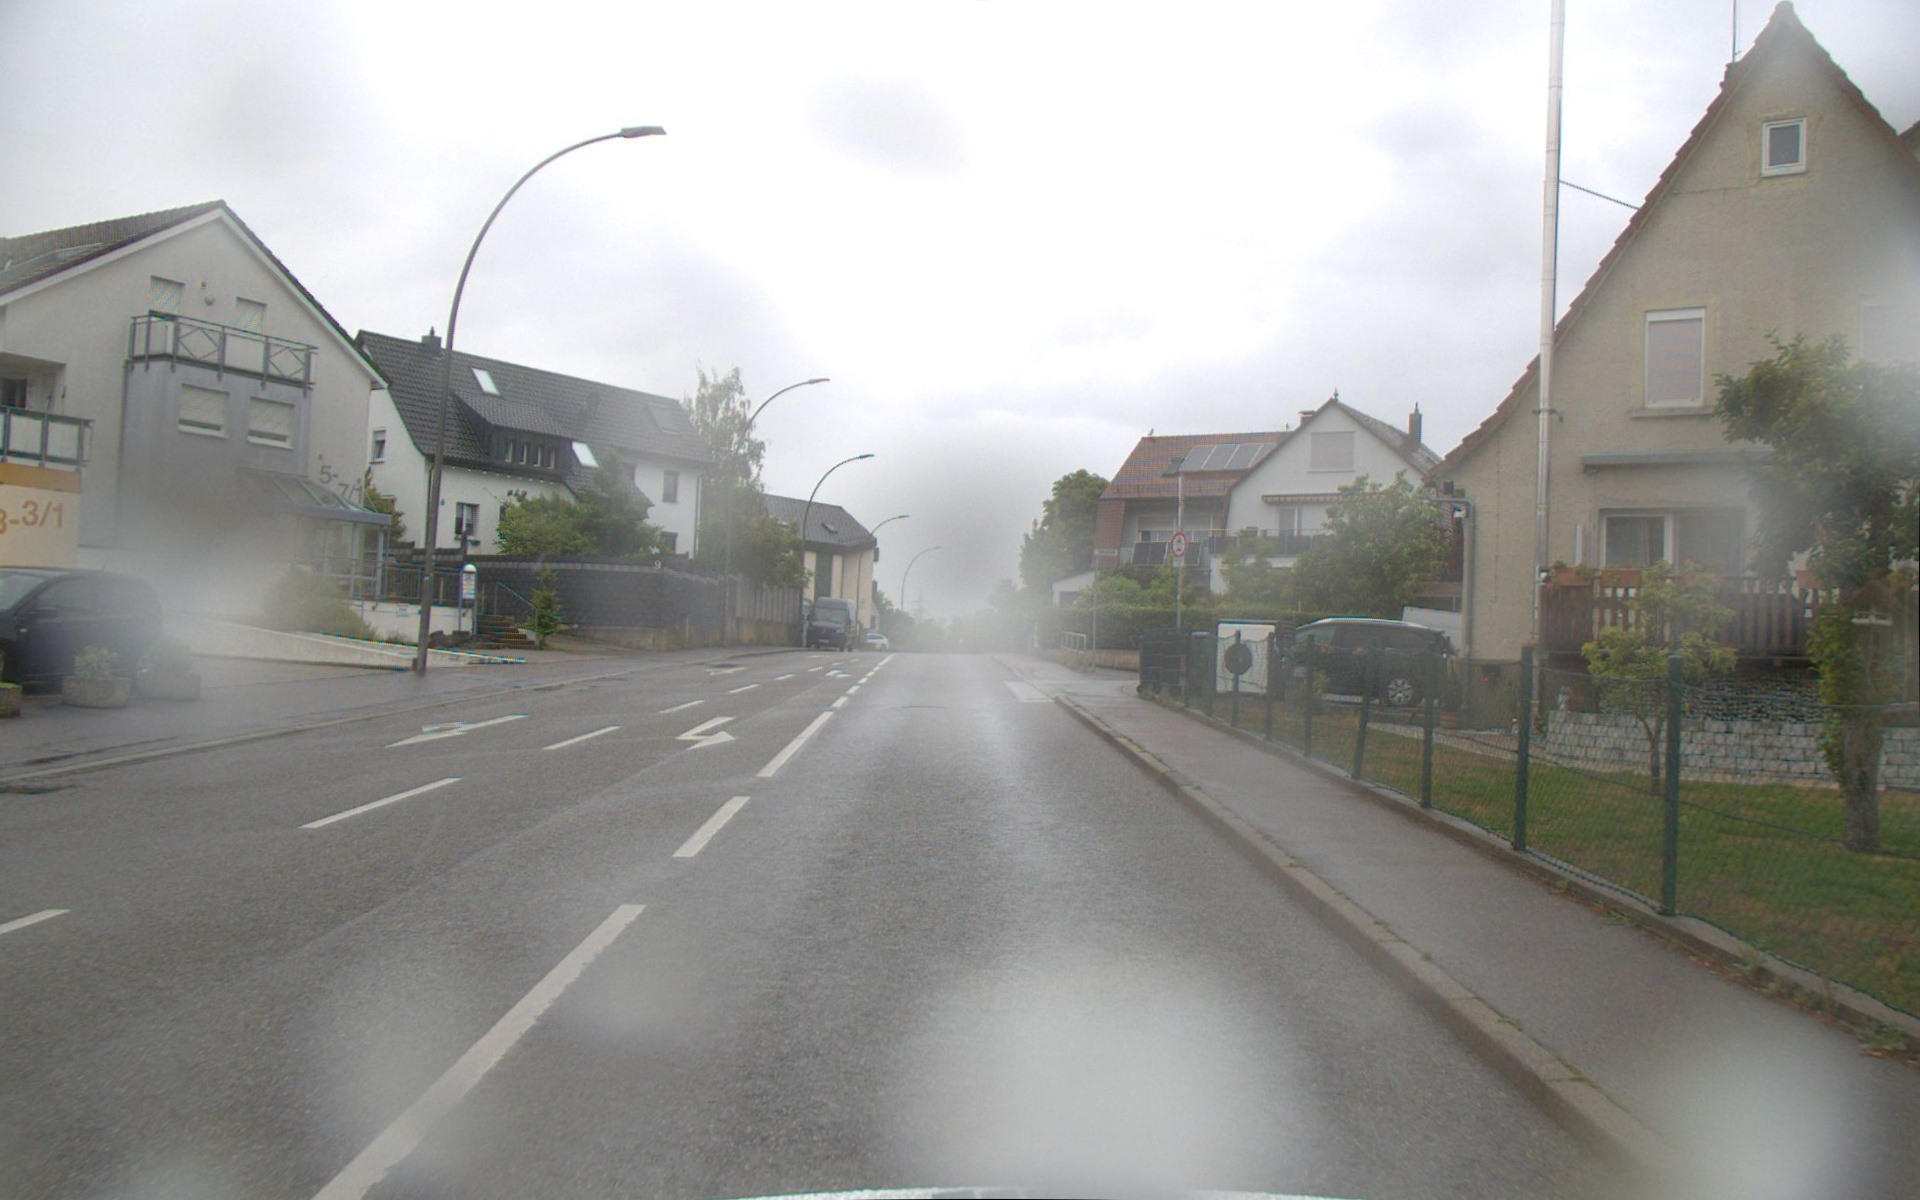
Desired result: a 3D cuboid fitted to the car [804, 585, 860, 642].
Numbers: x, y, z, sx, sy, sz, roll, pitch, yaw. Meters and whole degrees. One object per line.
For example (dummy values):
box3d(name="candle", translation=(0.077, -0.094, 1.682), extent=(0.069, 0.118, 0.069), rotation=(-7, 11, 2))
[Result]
box3d(name="car", translation=(-6.508, 0.735, 84.850), extent=(2.051, 2.695, 5.919), rotation=(3, -2, 2))

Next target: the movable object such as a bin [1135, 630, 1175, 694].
box3d(name="movable object such as a bin", translation=(3.268, 1.037, 27.687), extent=(0.518, 1.039, 0.733), rotation=(0, 0, 18))

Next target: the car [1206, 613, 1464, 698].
box3d(name="car", translation=(6.863, 0.975, 30.192), extent=(4.461, 1.408, 2.001), rotation=(0, 1, 17))

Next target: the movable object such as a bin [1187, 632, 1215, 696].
box3d(name="movable object such as a bin", translation=(3.991, 1.056, 27.394), extent=(0.433, 1.039, 0.525), rotation=(0, 0, 12))

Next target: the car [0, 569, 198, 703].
box3d(name="car", translation=(-11.437, 0.389, 20.043), extent=(1.862, 1.467, 3.830), rotation=(3, 1, 18))

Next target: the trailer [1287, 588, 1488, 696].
box3d(name="trailer", translation=(8.503, 0.827, 32.941), extent=(3.396, 1.829, 1.681), rotation=(5, 0, 37))

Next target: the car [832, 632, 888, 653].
box3d(name="car", translation=(-8.265, 3.546, 136.874), extent=(1.869, 1.503, 4.862), rotation=(2, -2, 36))

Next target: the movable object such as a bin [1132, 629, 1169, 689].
box3d(name="movable object such as a bin", translation=(3.355, 1.037, 29.164), extent=(0.614, 1.039, 0.541), rotation=(0, 0, 4))
